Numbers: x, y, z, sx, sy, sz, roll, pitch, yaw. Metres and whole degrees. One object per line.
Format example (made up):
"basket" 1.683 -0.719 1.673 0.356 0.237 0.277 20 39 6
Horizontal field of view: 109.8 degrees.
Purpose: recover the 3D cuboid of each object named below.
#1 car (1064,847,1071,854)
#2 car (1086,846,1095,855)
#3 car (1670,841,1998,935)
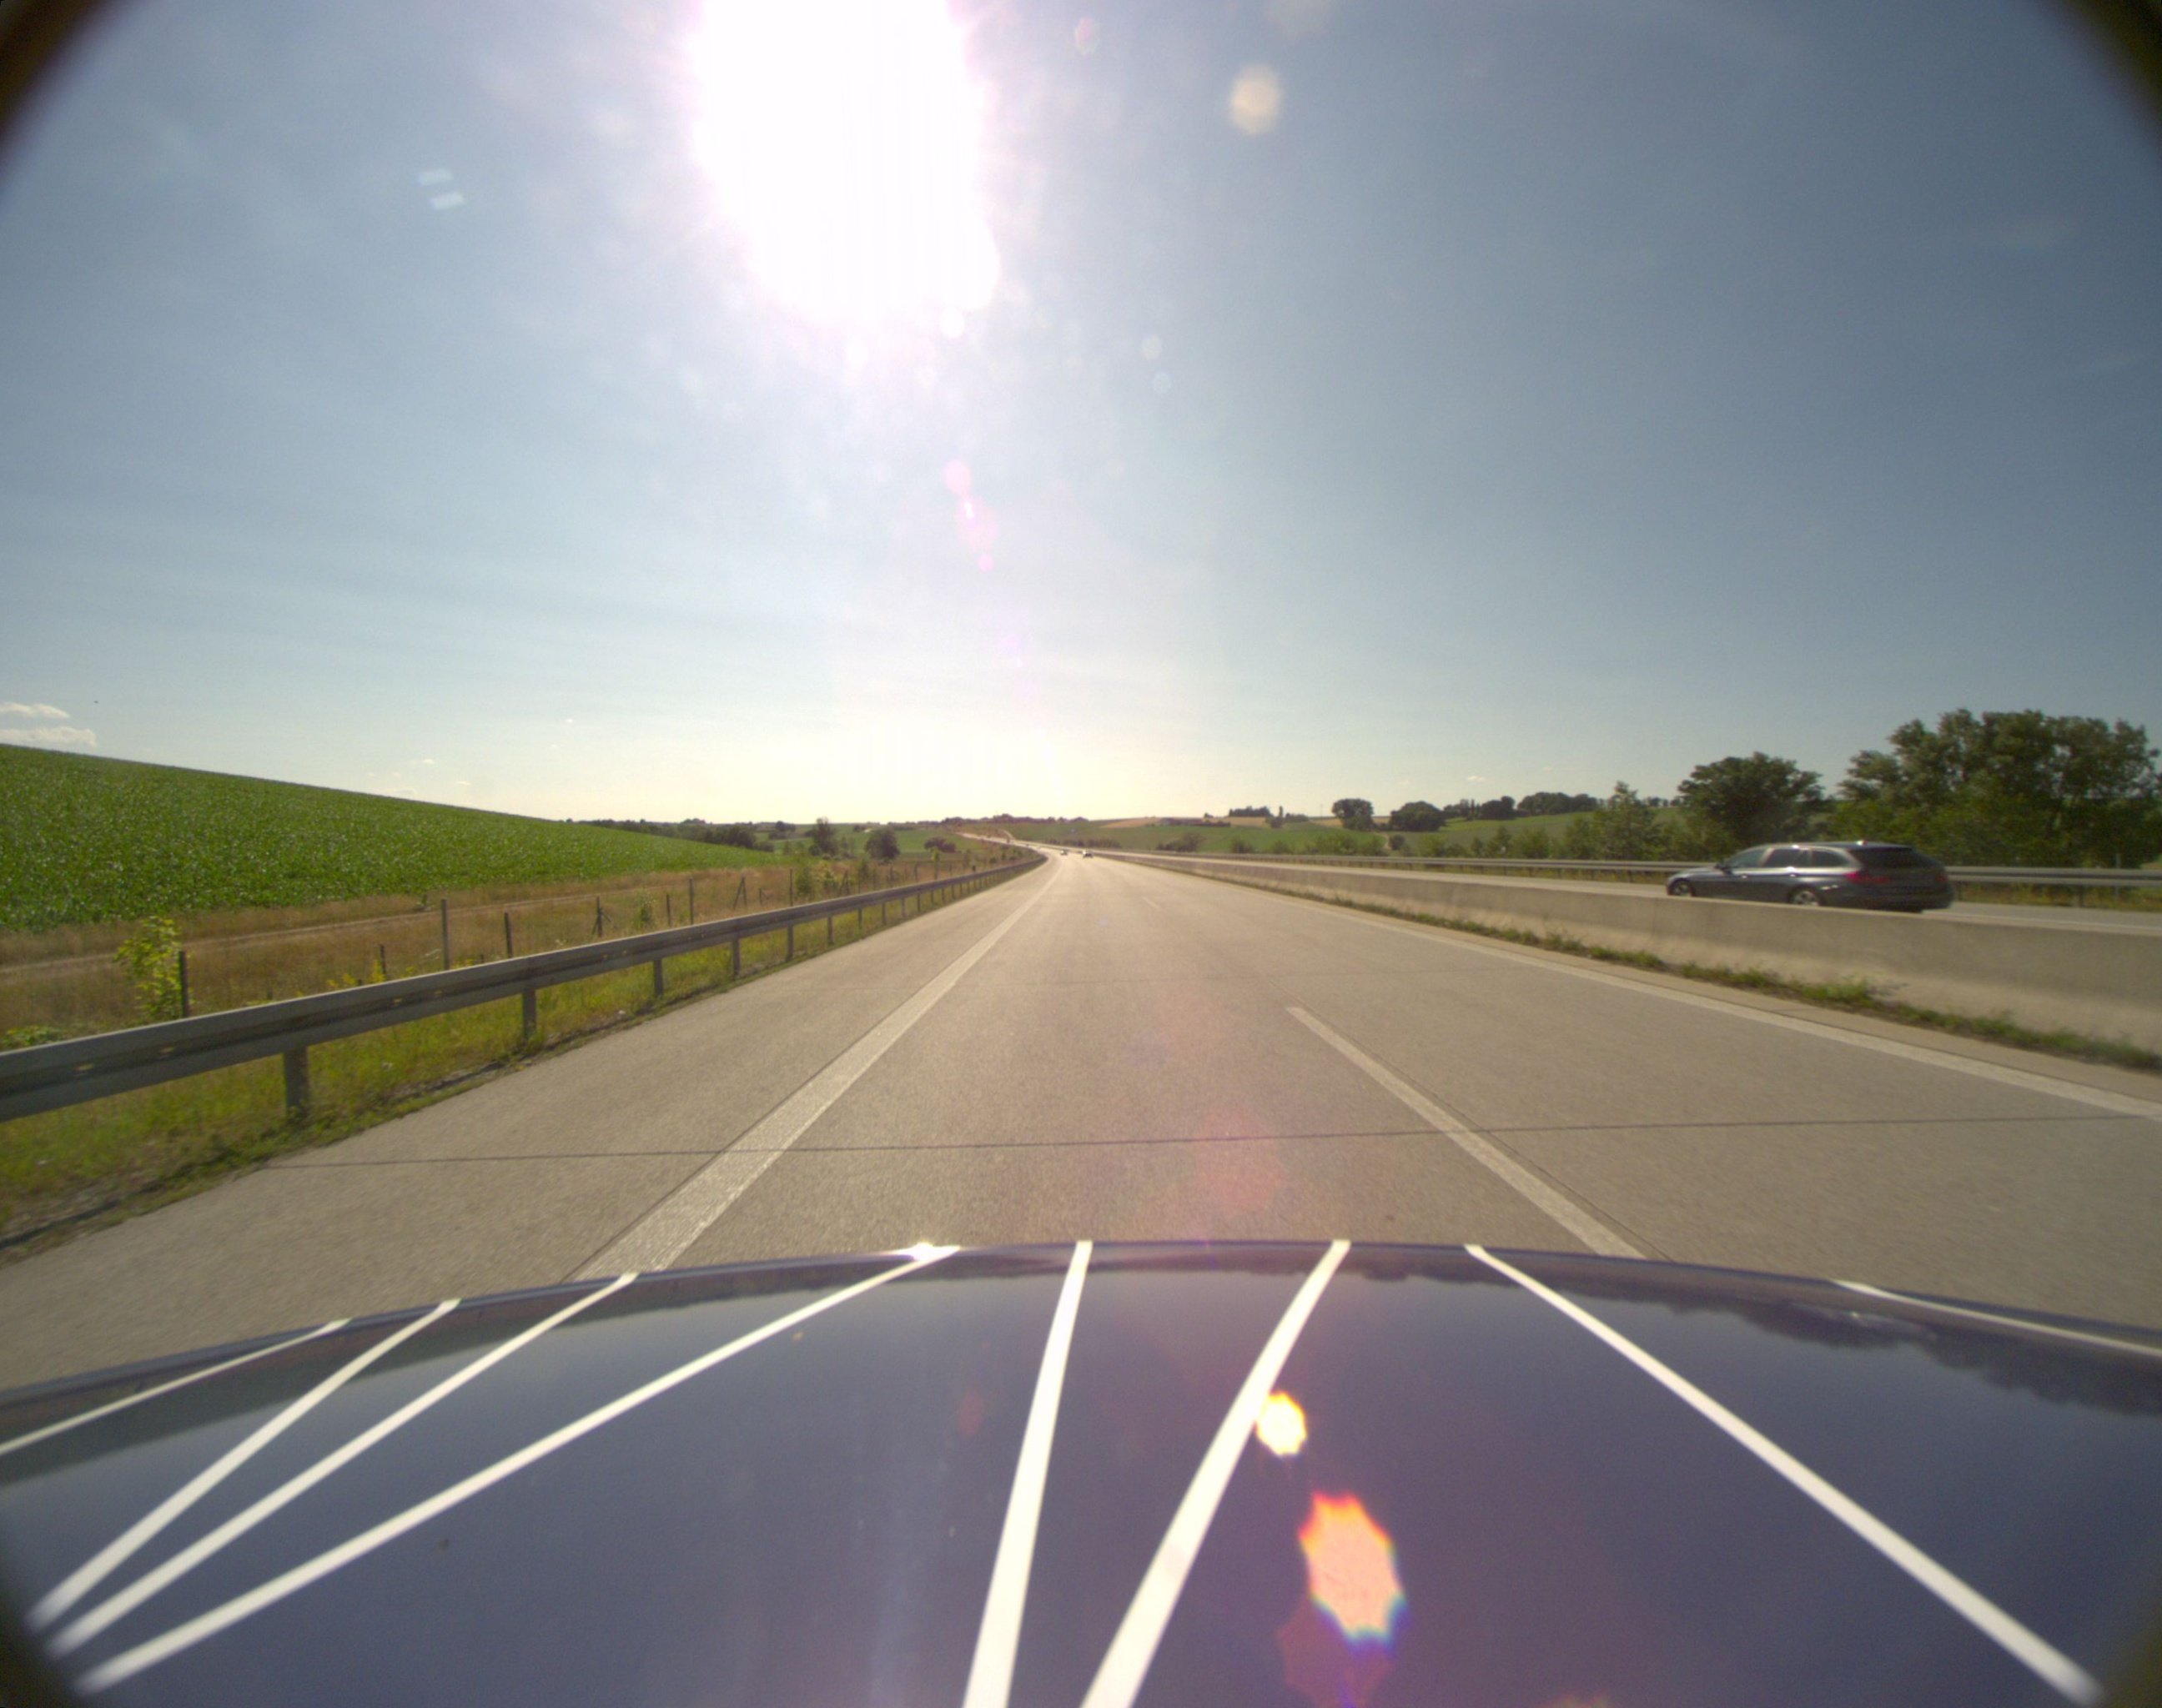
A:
"car" -3.648 -0.990 205.210 1.715 1.581 4.623 -2 3 -3
"car" 1.875 -0.668 148.732 1.714 1.581 4.625 -2 3 2
"car" 13.846 0.505 14.464 1.817 1.448 4.511 -2 1 1
